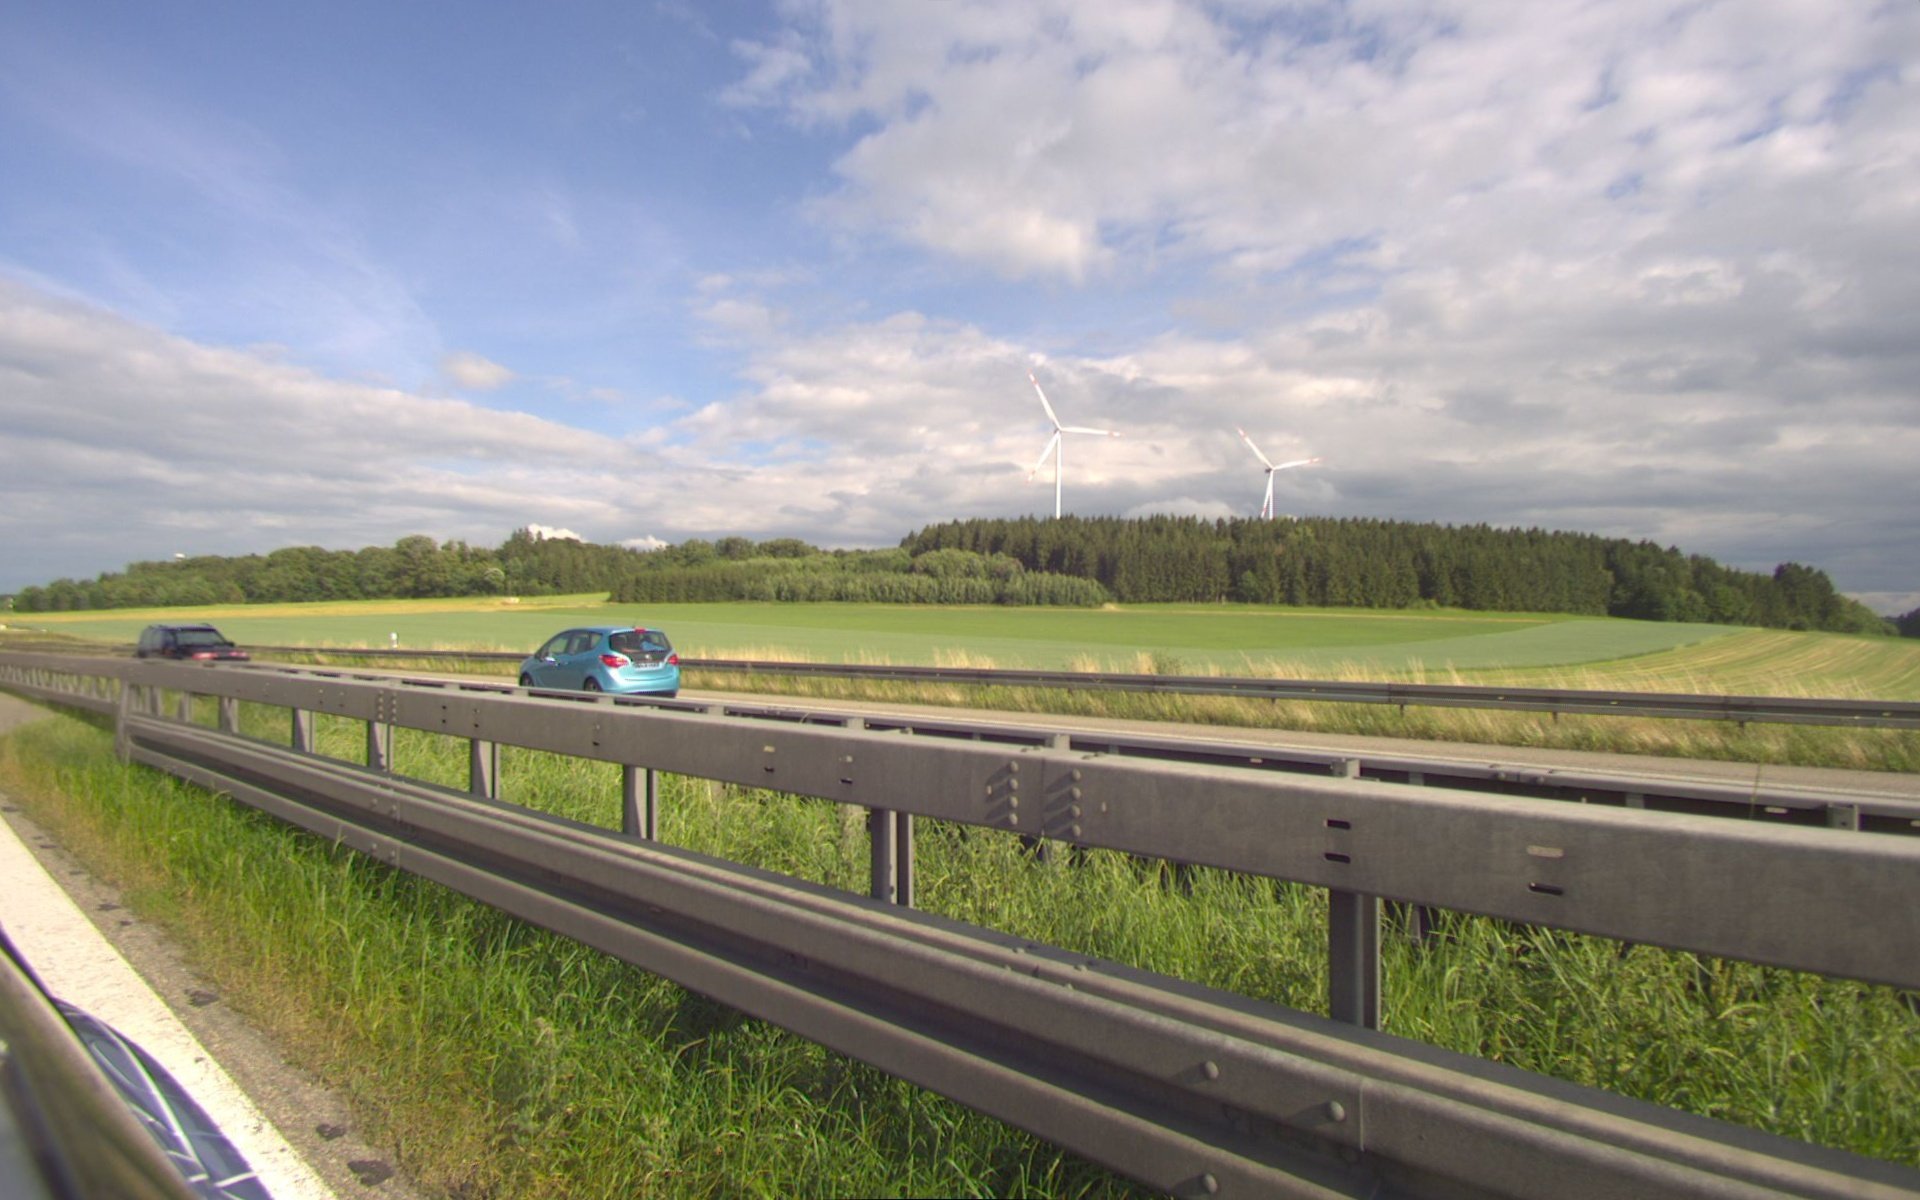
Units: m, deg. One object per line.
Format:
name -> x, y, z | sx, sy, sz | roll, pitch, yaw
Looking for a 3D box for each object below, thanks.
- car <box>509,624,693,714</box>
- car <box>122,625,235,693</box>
car -> -7.271, 1.294, 20.306 | 4.115, 1.600, 1.716 | -1, -1, 41
car -> -22.575, 1.633, 29.175 | 4.361, 1.783, 1.804 | -1, -1, 41
